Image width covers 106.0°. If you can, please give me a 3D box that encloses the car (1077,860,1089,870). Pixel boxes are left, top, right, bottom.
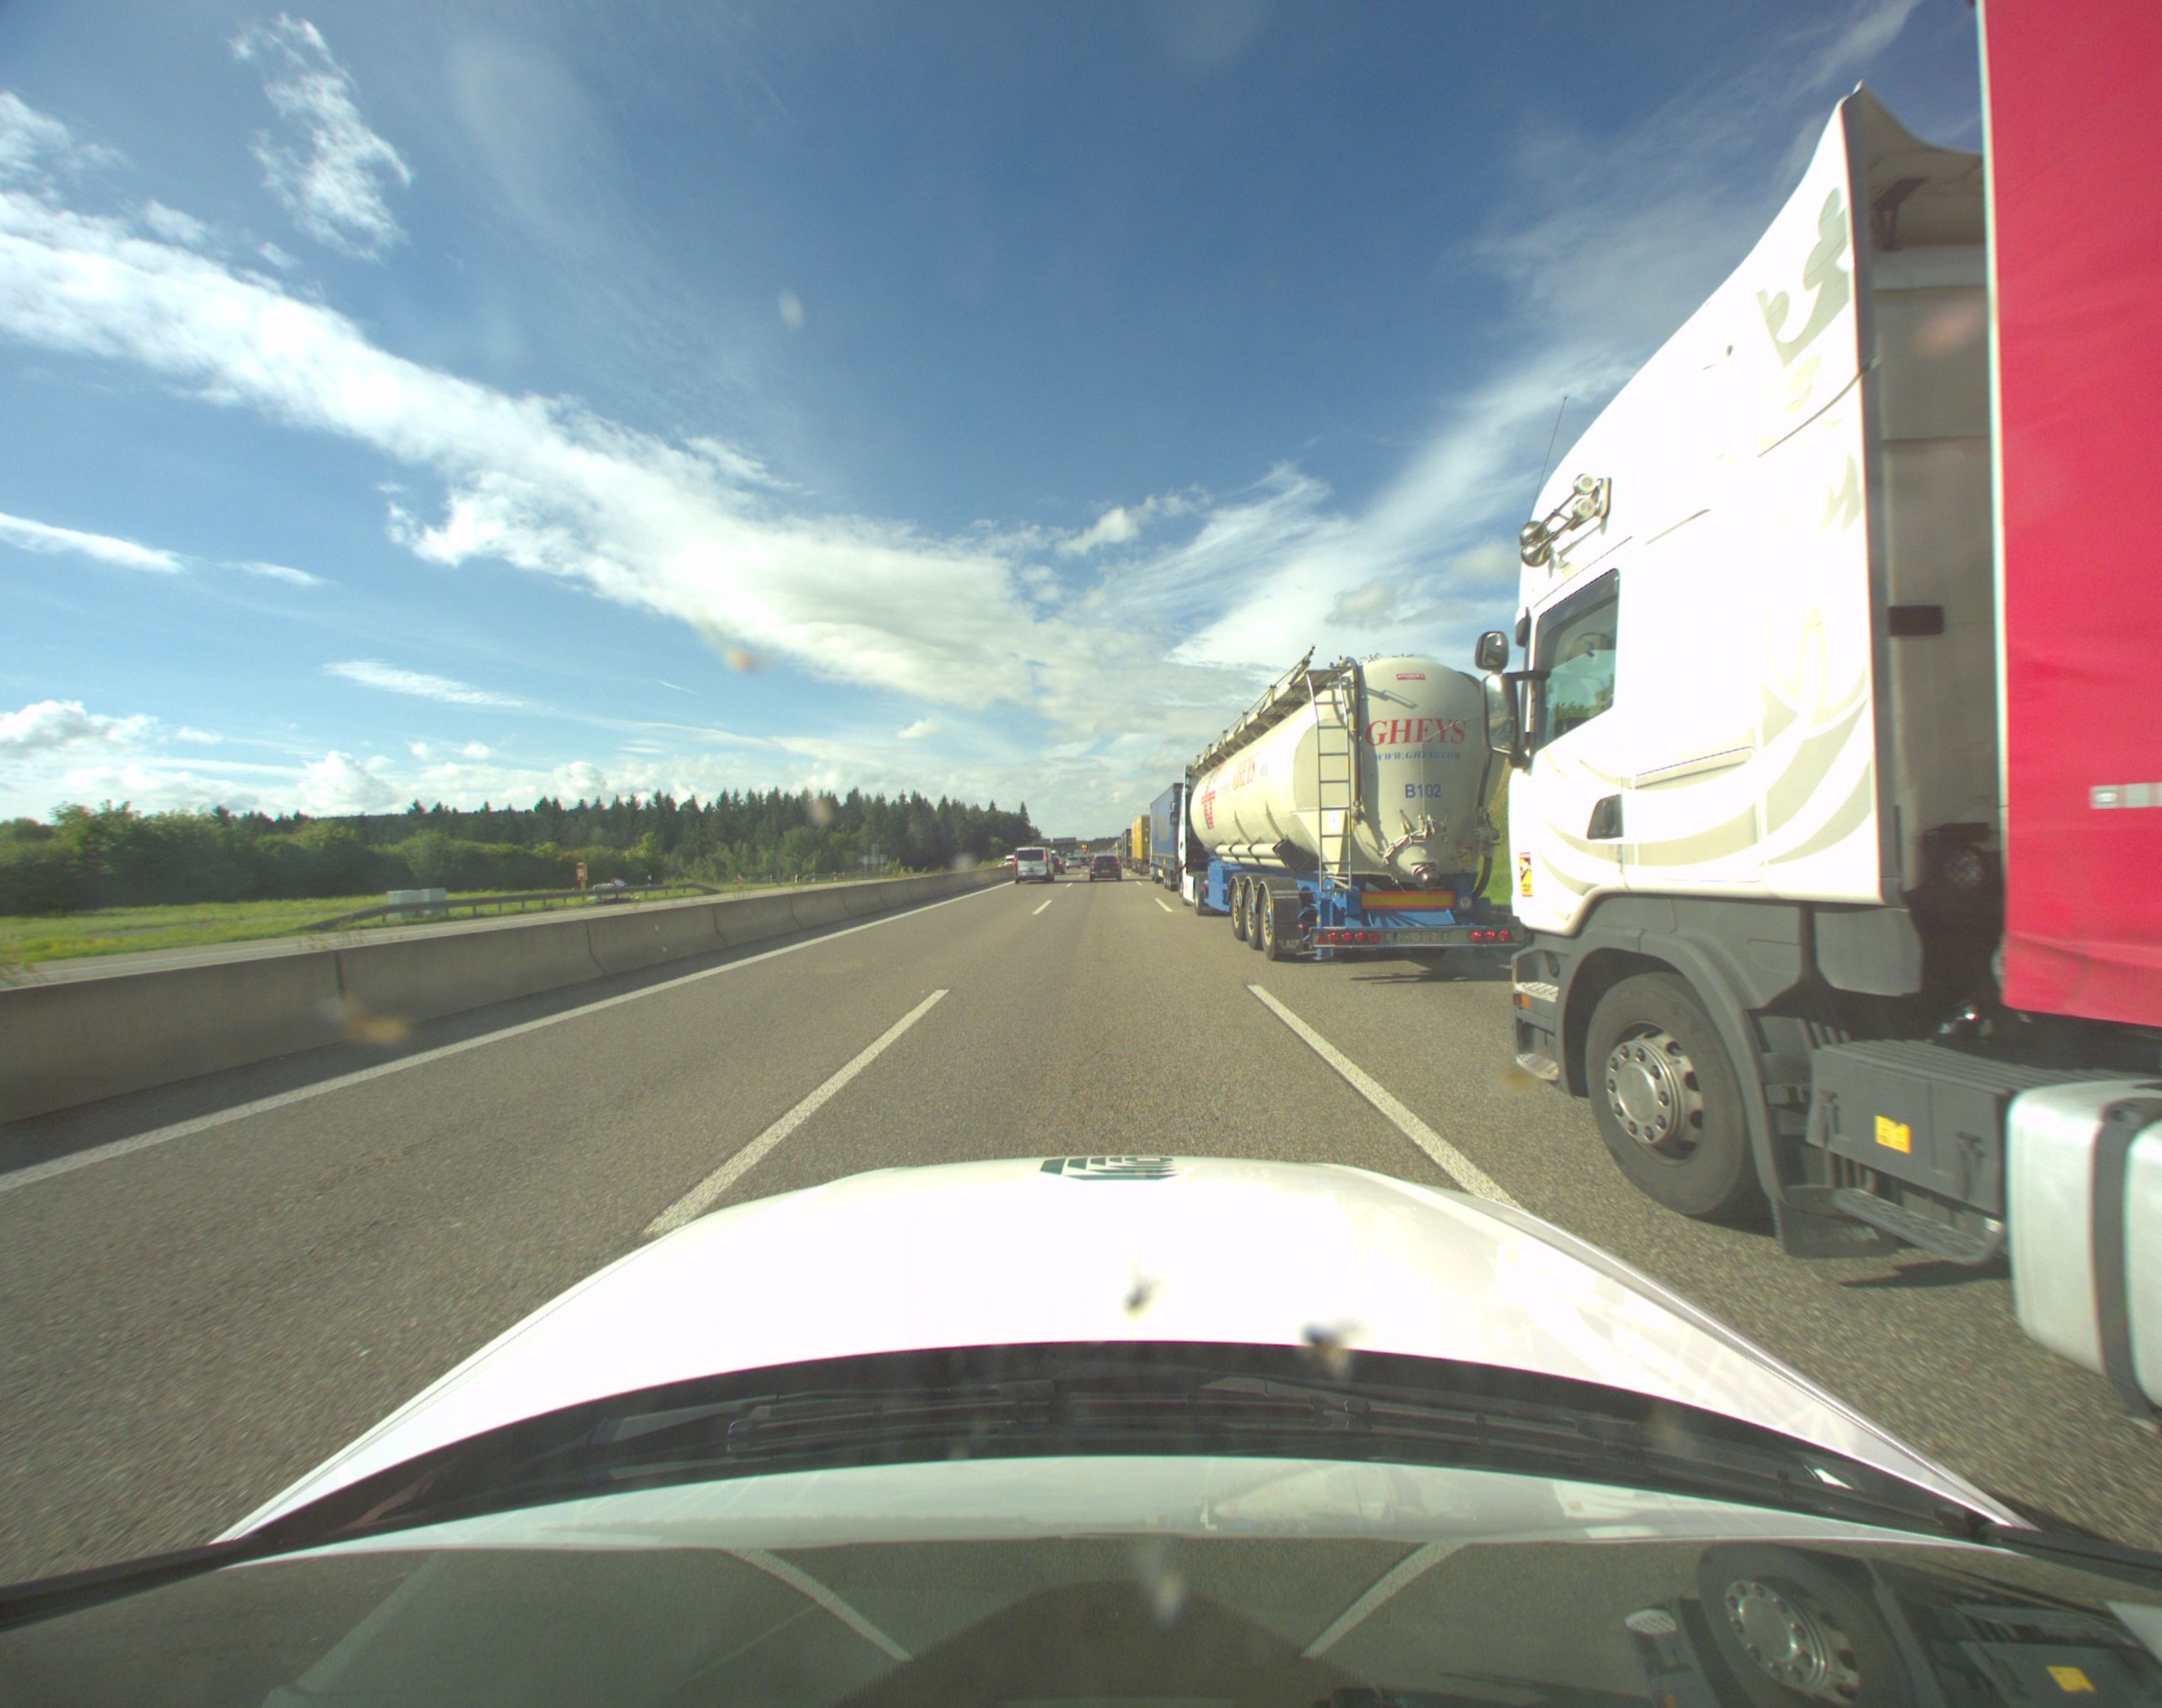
[{"bbox_3d":[0.334,1.556,114.852,1.575,1.396,3.209,-1,0,2],"label":"car"}]

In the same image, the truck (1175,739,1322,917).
[{"bbox_3d":[4.131,-0.560,21.582,2.639,3.925,6.944,-1,0,2],"label":"truck"}]

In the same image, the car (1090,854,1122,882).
[{"bbox_3d":[1.432,0.768,46.221,1.690,1.483,4.161,-1,0,2],"label":"car"}]

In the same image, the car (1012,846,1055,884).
[{"bbox_3d":[-2.602,0.602,45.694,1.925,1.979,5.100,-1,0,2],"label":"car"}]

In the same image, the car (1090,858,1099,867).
[{"bbox_3d":[2.255,1.409,136.727,1.355,1.396,3.086,-1,0,2],"label":"car"}]

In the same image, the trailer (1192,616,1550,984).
[{"bbox_3d":[3.876,-0.579,14.346,2.636,3.934,11.179,-1,0,2],"label":"trailer"}]

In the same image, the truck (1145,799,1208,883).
[{"bbox_3d":[4.913,-0.612,43.107,2.639,4.089,6.492,-1,0,1],"label":"truck"}]

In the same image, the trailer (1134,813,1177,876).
[{"bbox_3d":[5.132,-0.628,57.293,2.403,4.068,8.930,-1,0,2],"label":"trailer"}]

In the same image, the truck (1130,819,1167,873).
[{"bbox_3d":[5.418,-0.620,66.618,2.403,4.068,9.668,-1,0,2],"label":"truck"}]

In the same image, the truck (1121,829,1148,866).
[{"bbox_3d":[6.044,-0.656,93.710,2.730,4.038,10.207,-1,0,2],"label":"truck"}]

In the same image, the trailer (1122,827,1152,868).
[{"bbox_3d":[5.719,-0.630,84.296,2.706,3.961,8.714,-1,0,2],"label":"trailer"}]

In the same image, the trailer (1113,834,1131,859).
[{"bbox_3d":[6.898,-1.199,138.389,2.651,3.868,13.400,-3,-1,2],"label":"trailer"}]

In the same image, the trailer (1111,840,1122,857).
[{"bbox_3d":[9.969,-1.490,226.466,2.791,4.244,11.063,-4,-1,3],"label":"trailer"}]

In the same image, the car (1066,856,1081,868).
[{"bbox_3d":[-0.855,0.965,95.030,1.494,1.396,3.477,-1,0,2],"label":"car"}]

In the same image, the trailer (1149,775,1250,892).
[{"bbox_3d":[4.771,-0.674,35.825,2.633,4.098,13.982,-1,0,1],"label":"trailer"}]

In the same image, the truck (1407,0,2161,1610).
[{"bbox_3d":[3.214,-0.591,2.140,2.356,4.021,6.108,-1,-1,2],"label":"truck"}]

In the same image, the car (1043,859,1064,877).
[{"bbox_3d":[-2.190,1.085,65.311,1.494,1.396,3.477,-1,0,2],"label":"car"}]
